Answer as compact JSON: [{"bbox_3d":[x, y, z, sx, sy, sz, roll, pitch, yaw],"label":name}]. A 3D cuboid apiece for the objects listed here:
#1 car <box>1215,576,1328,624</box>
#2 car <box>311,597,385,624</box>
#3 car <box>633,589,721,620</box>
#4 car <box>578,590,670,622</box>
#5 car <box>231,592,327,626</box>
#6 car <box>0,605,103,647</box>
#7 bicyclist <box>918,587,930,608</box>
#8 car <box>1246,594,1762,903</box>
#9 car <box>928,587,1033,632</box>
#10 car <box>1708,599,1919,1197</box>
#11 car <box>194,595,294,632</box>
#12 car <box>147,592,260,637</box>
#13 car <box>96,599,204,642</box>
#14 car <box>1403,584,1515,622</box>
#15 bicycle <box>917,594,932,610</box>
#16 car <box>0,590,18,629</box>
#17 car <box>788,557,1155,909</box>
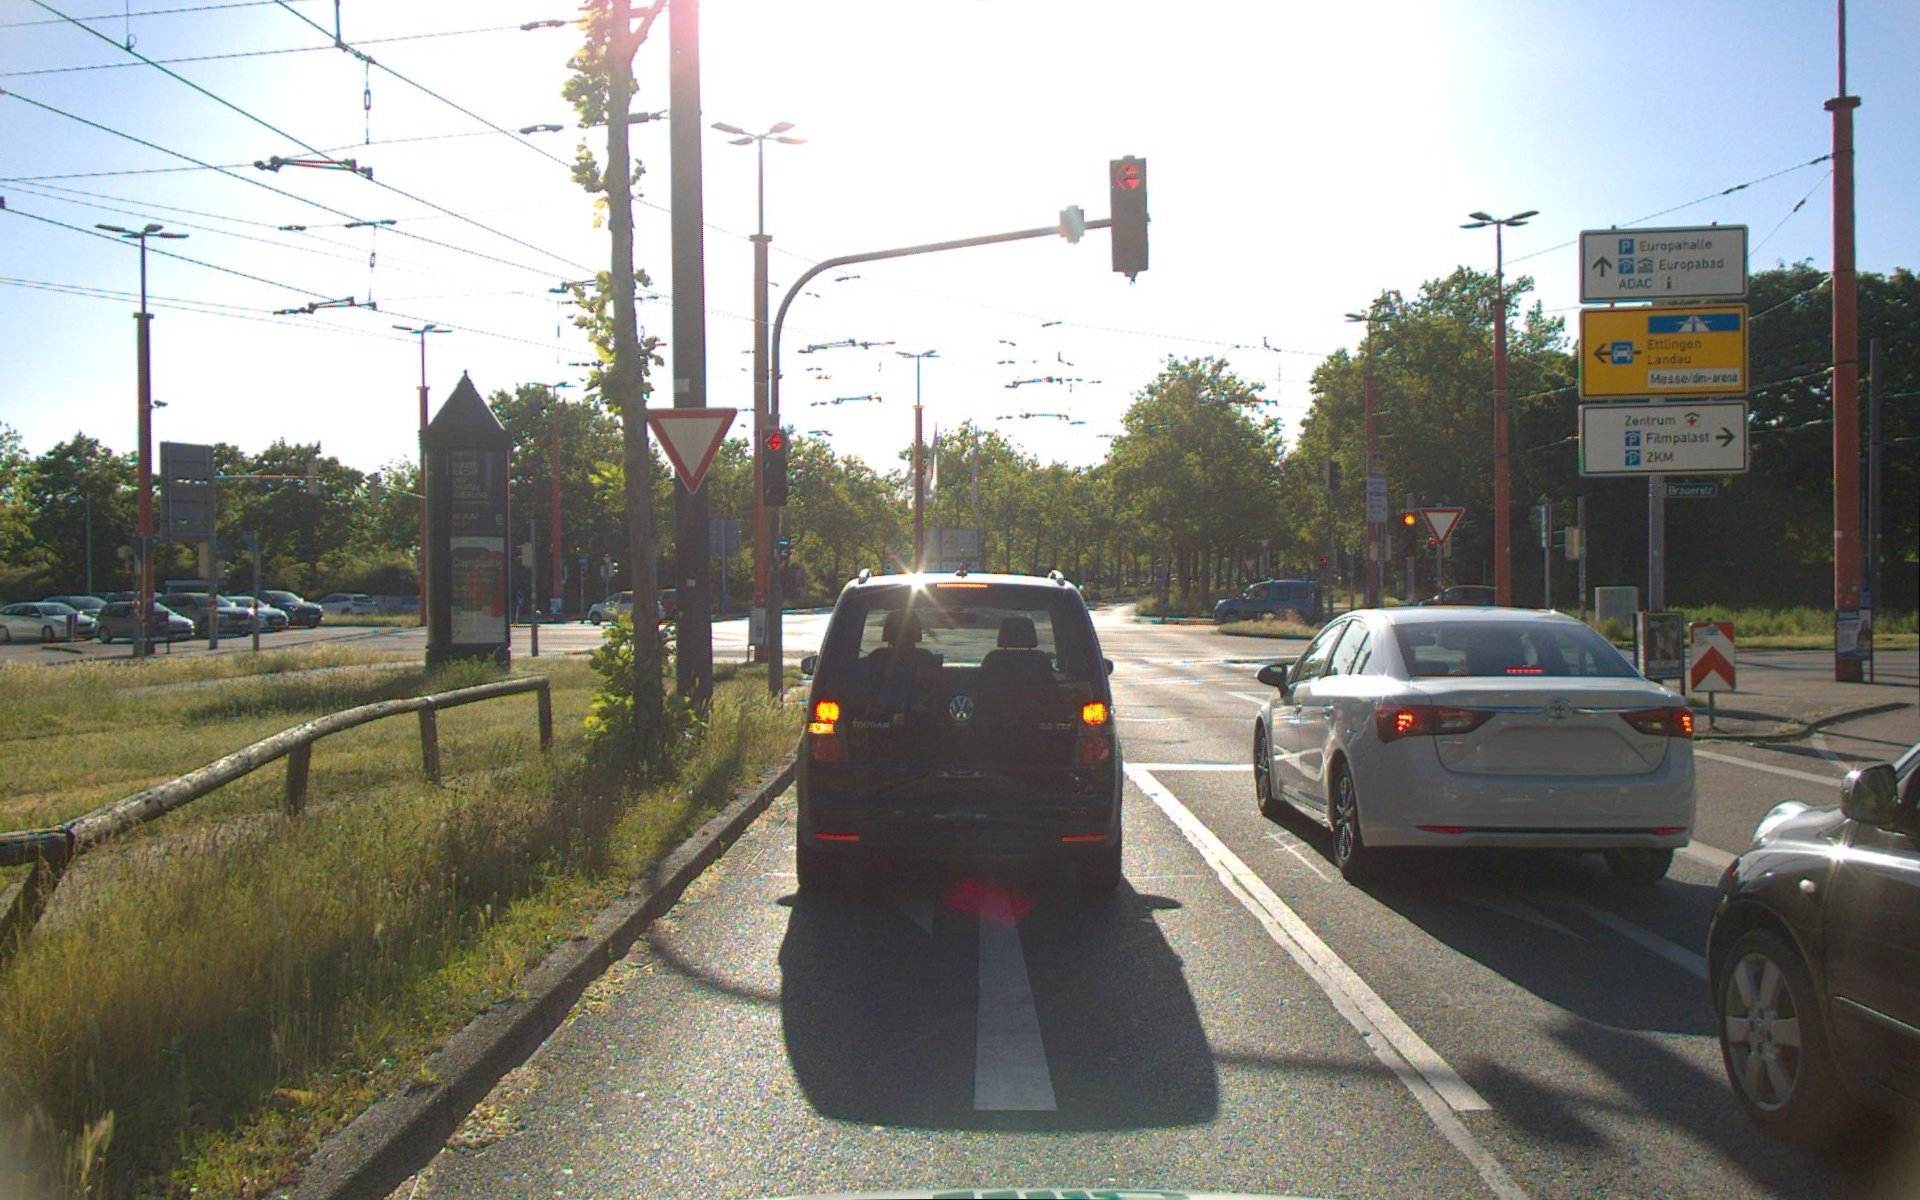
[{"bbox_3d":[12.097,-0.014,64.268,4.036,1.822,1.798,0,0,24],"label":"car"},{"bbox_3d":[-33.612,0.543,90.776,3.715,1.427,1.656,0,0,24],"label":"car"},{"bbox_3d":[-13.831,0.205,80.880,4.037,1.497,1.655,0,0,25],"label":"car"},{"bbox_3d":[-15.683,0.272,77.126,4.039,1.427,1.655,0,0,27],"label":"car"},{"bbox_3d":[-29.467,0.372,71.549,4.060,1.440,1.542,0,0,26],"label":"car"},{"bbox_3d":[-34.937,0.970,63.254,4.536,1.546,1.654,0,0,30],"label":"car"},{"bbox_3d":[-3.201,-0.231,148.122,0.955,1.937,1.051,0,0,6],"label":"bicyclist"},{"bbox_3d":[3.016,0.728,10.184,1.762,1.465,4.326,1,0,0],"label":"car"},{"bbox_3d":[0.852,0.397,69.449,4.035,1.822,1.798,0,0,23],"label":"car"},{"bbox_3d":[3.137,0.742,3.488,1.544,1.465,3.441,1,0,0],"label":"car"},{"bbox_3d":[-29.403,0.531,67.926,4.060,1.440,1.542,0,0,26],"label":"car"},{"bbox_3d":[-29.316,0.540,64.092,4.541,1.676,1.654,0,0,30],"label":"car"},{"bbox_3d":[-29.543,0.731,60.300,3.755,1.466,1.655,0,0,27],"label":"car"},{"bbox_3d":[19.486,0.087,64.586,4.036,1.427,1.656,0,0,25],"label":"car"},{"bbox_3d":[-3.208,0.174,148.081,0.955,1.413,2.982,0,0,6],"label":"bicycle"},{"bbox_3d":[-42.983,0.385,71.635,4.541,1.676,1.753,0,0,30],"label":"car"},{"bbox_3d":[0.068,0.635,9.962,1.703,1.630,4.326,1,0,0],"label":"car"}]
